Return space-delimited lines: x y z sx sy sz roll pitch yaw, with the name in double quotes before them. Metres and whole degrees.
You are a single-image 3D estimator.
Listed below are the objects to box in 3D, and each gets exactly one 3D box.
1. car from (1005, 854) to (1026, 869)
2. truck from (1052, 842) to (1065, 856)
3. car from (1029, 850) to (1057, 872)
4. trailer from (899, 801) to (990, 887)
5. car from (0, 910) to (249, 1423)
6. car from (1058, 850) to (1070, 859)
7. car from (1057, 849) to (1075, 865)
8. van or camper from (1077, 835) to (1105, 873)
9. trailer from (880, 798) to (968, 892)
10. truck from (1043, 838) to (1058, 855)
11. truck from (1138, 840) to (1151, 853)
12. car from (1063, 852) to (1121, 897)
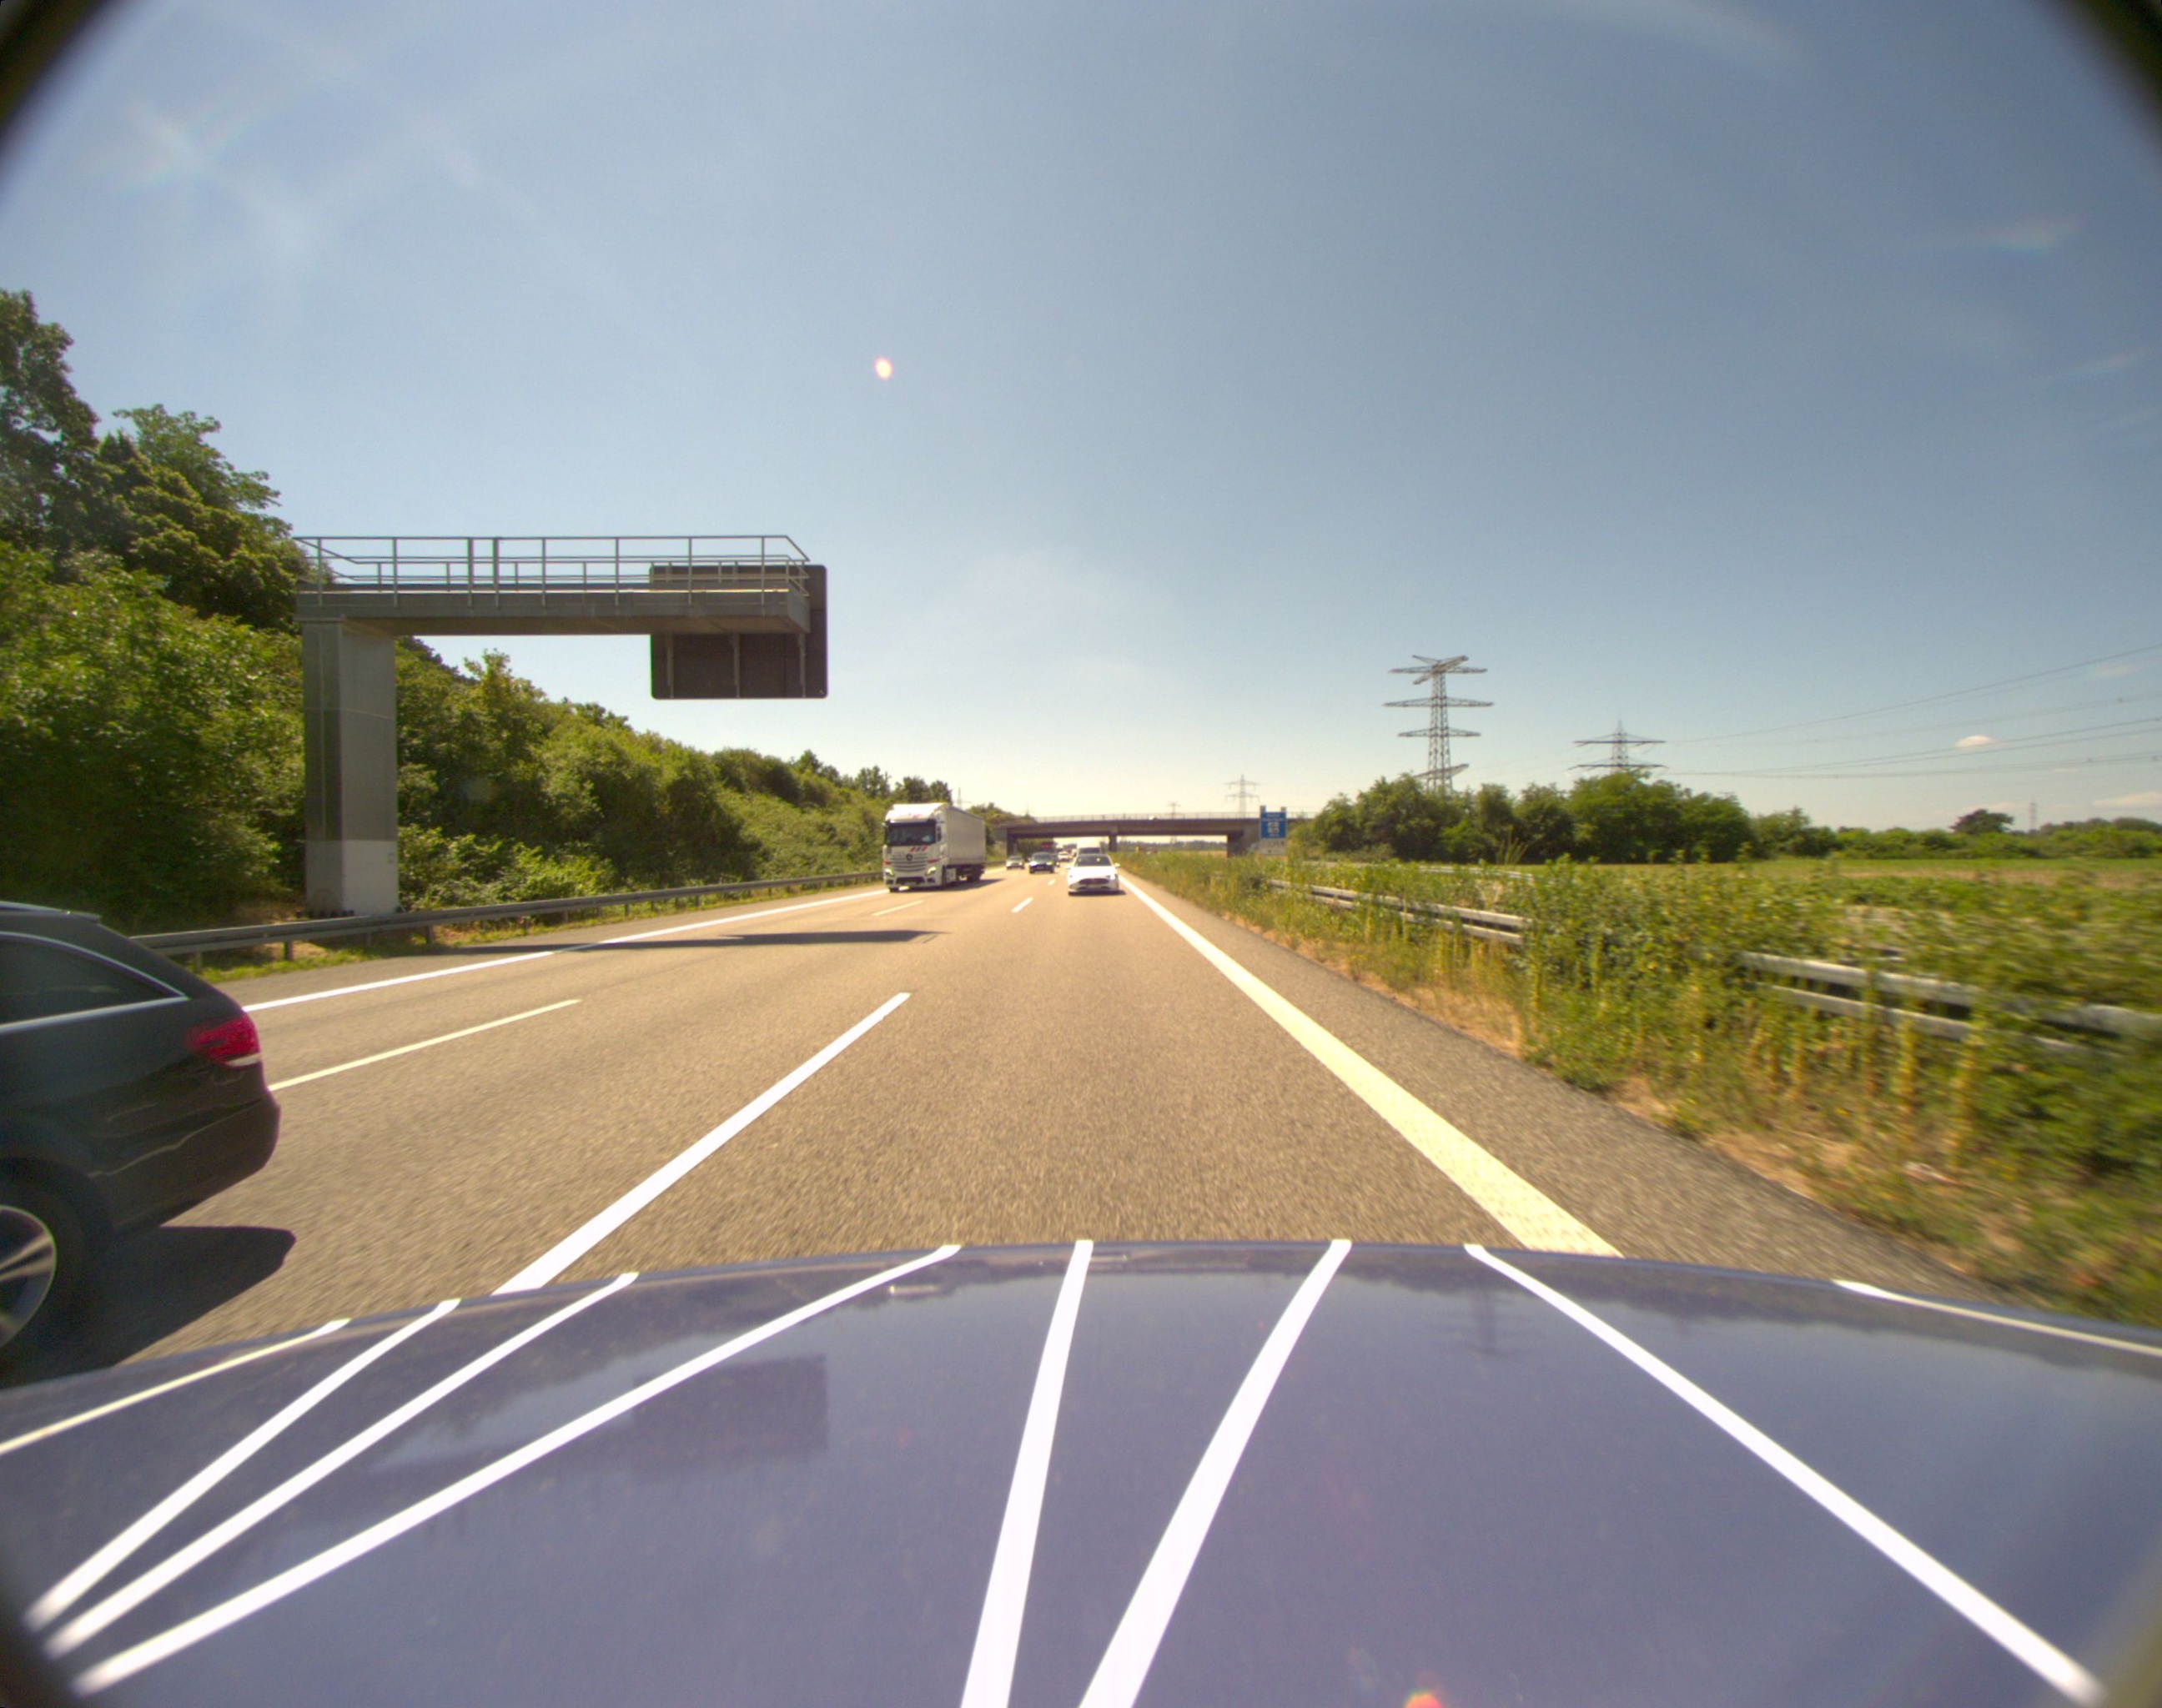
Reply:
"car" -6.936 0.774 80.955 1.840 1.403 4.558 -2 0 0
"truck" -6.407 -1.502 219.786 3.507 3.891 9.646 -1 1 -1
"car" -3.014 0.533 60.805 1.984 1.671 4.558 -1 0 0
"trailer" -7.403 -0.523 43.381 2.735 4.079 13.187 -1 0 0
"car" -4.242 1.015 0.596 1.846 1.497 4.738 -3 0 1
"car" -2.893 0.043 128.303 1.984 1.525 4.137 -1 0 0
"car" -1.662 0.294 84.681 1.984 1.671 4.558 0 1 0
"van or camper" 0.826 -0.016 58.676 1.998 2.740 5.410 -2 0 2
"trailer" -7.403 -0.434 36.782 2.720 4.079 6.788 -1 1 0
"truck" -6.071 -1.532 151.973 2.581 3.204 5.712 -3 1 0
"truck" 20.684 -2.459 247.093 3.520 3.840 8.661 -2 0 1
"car" 0.391 0.704 28.705 1.984 1.525 4.558 -1 0 0
